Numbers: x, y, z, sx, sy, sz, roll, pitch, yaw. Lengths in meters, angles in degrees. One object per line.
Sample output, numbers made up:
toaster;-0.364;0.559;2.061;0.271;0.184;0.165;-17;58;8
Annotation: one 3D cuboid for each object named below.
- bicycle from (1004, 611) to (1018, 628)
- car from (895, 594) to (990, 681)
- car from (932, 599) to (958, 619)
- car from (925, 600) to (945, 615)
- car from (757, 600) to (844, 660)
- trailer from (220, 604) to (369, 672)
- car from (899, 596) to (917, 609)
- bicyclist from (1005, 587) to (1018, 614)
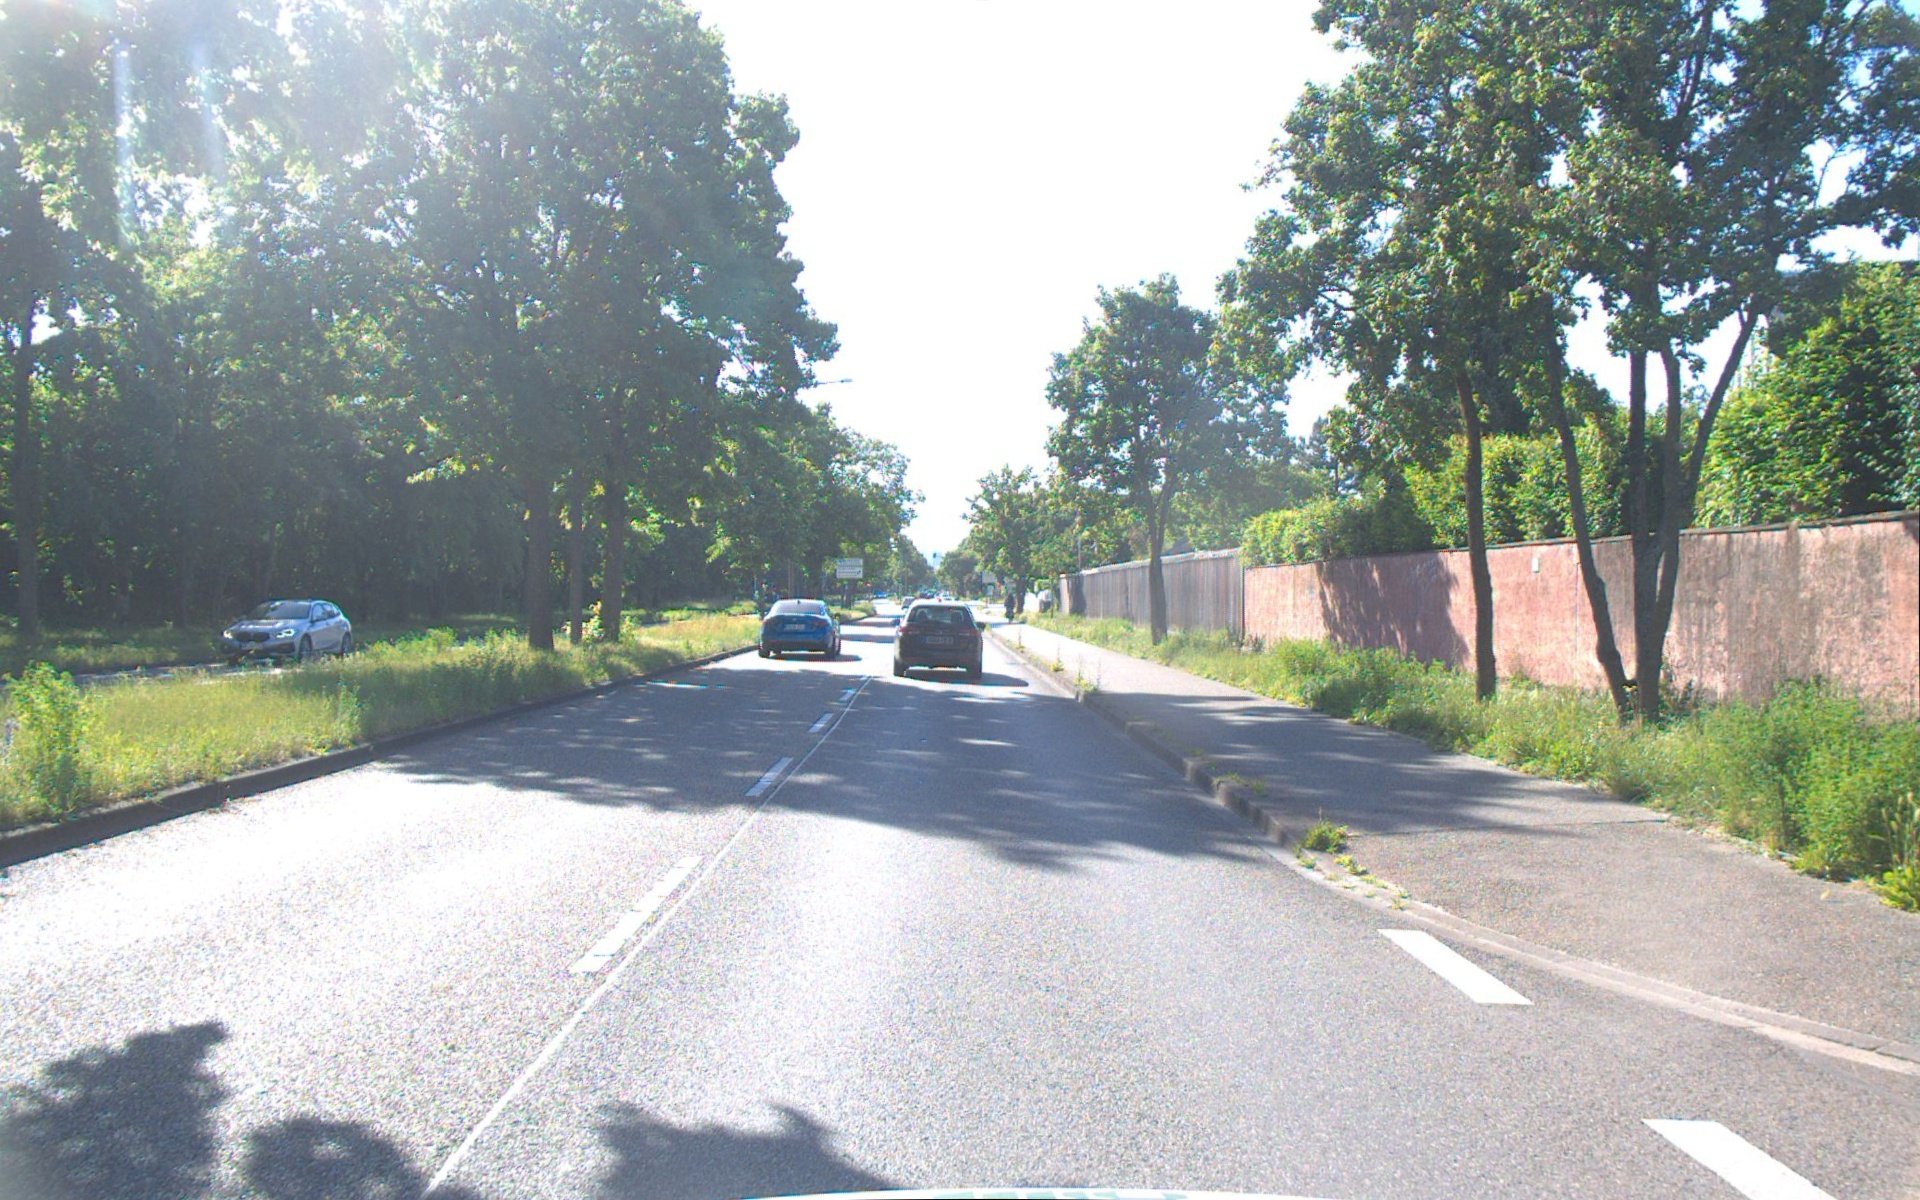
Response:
bicycle;2.804;1.069;90.714;0.642;0.908;1.874;1;0;-1
car;-0.321;0.715;33.167;1.724;1.586;4.000;2;0;0
car;-1.224;0.696;130.122;1.938;1.465;3.999;0;1;-2
car;-2.574;0.723;168.628;1.938;1.465;3.999;0;1;-2
car;-3.974;0.721;41.739;1.955;1.429;3.998;0;0;-2
trailer;-15.579;0.839;38.972;1.705;1.449;4.496;-1;0;0
car;-6.075;0.307;193.282;1.939;1.465;3.997;0;1;-5
bicyclist;2.837;0.031;90.962;0.666;1.443;0.812;1;0;-1
